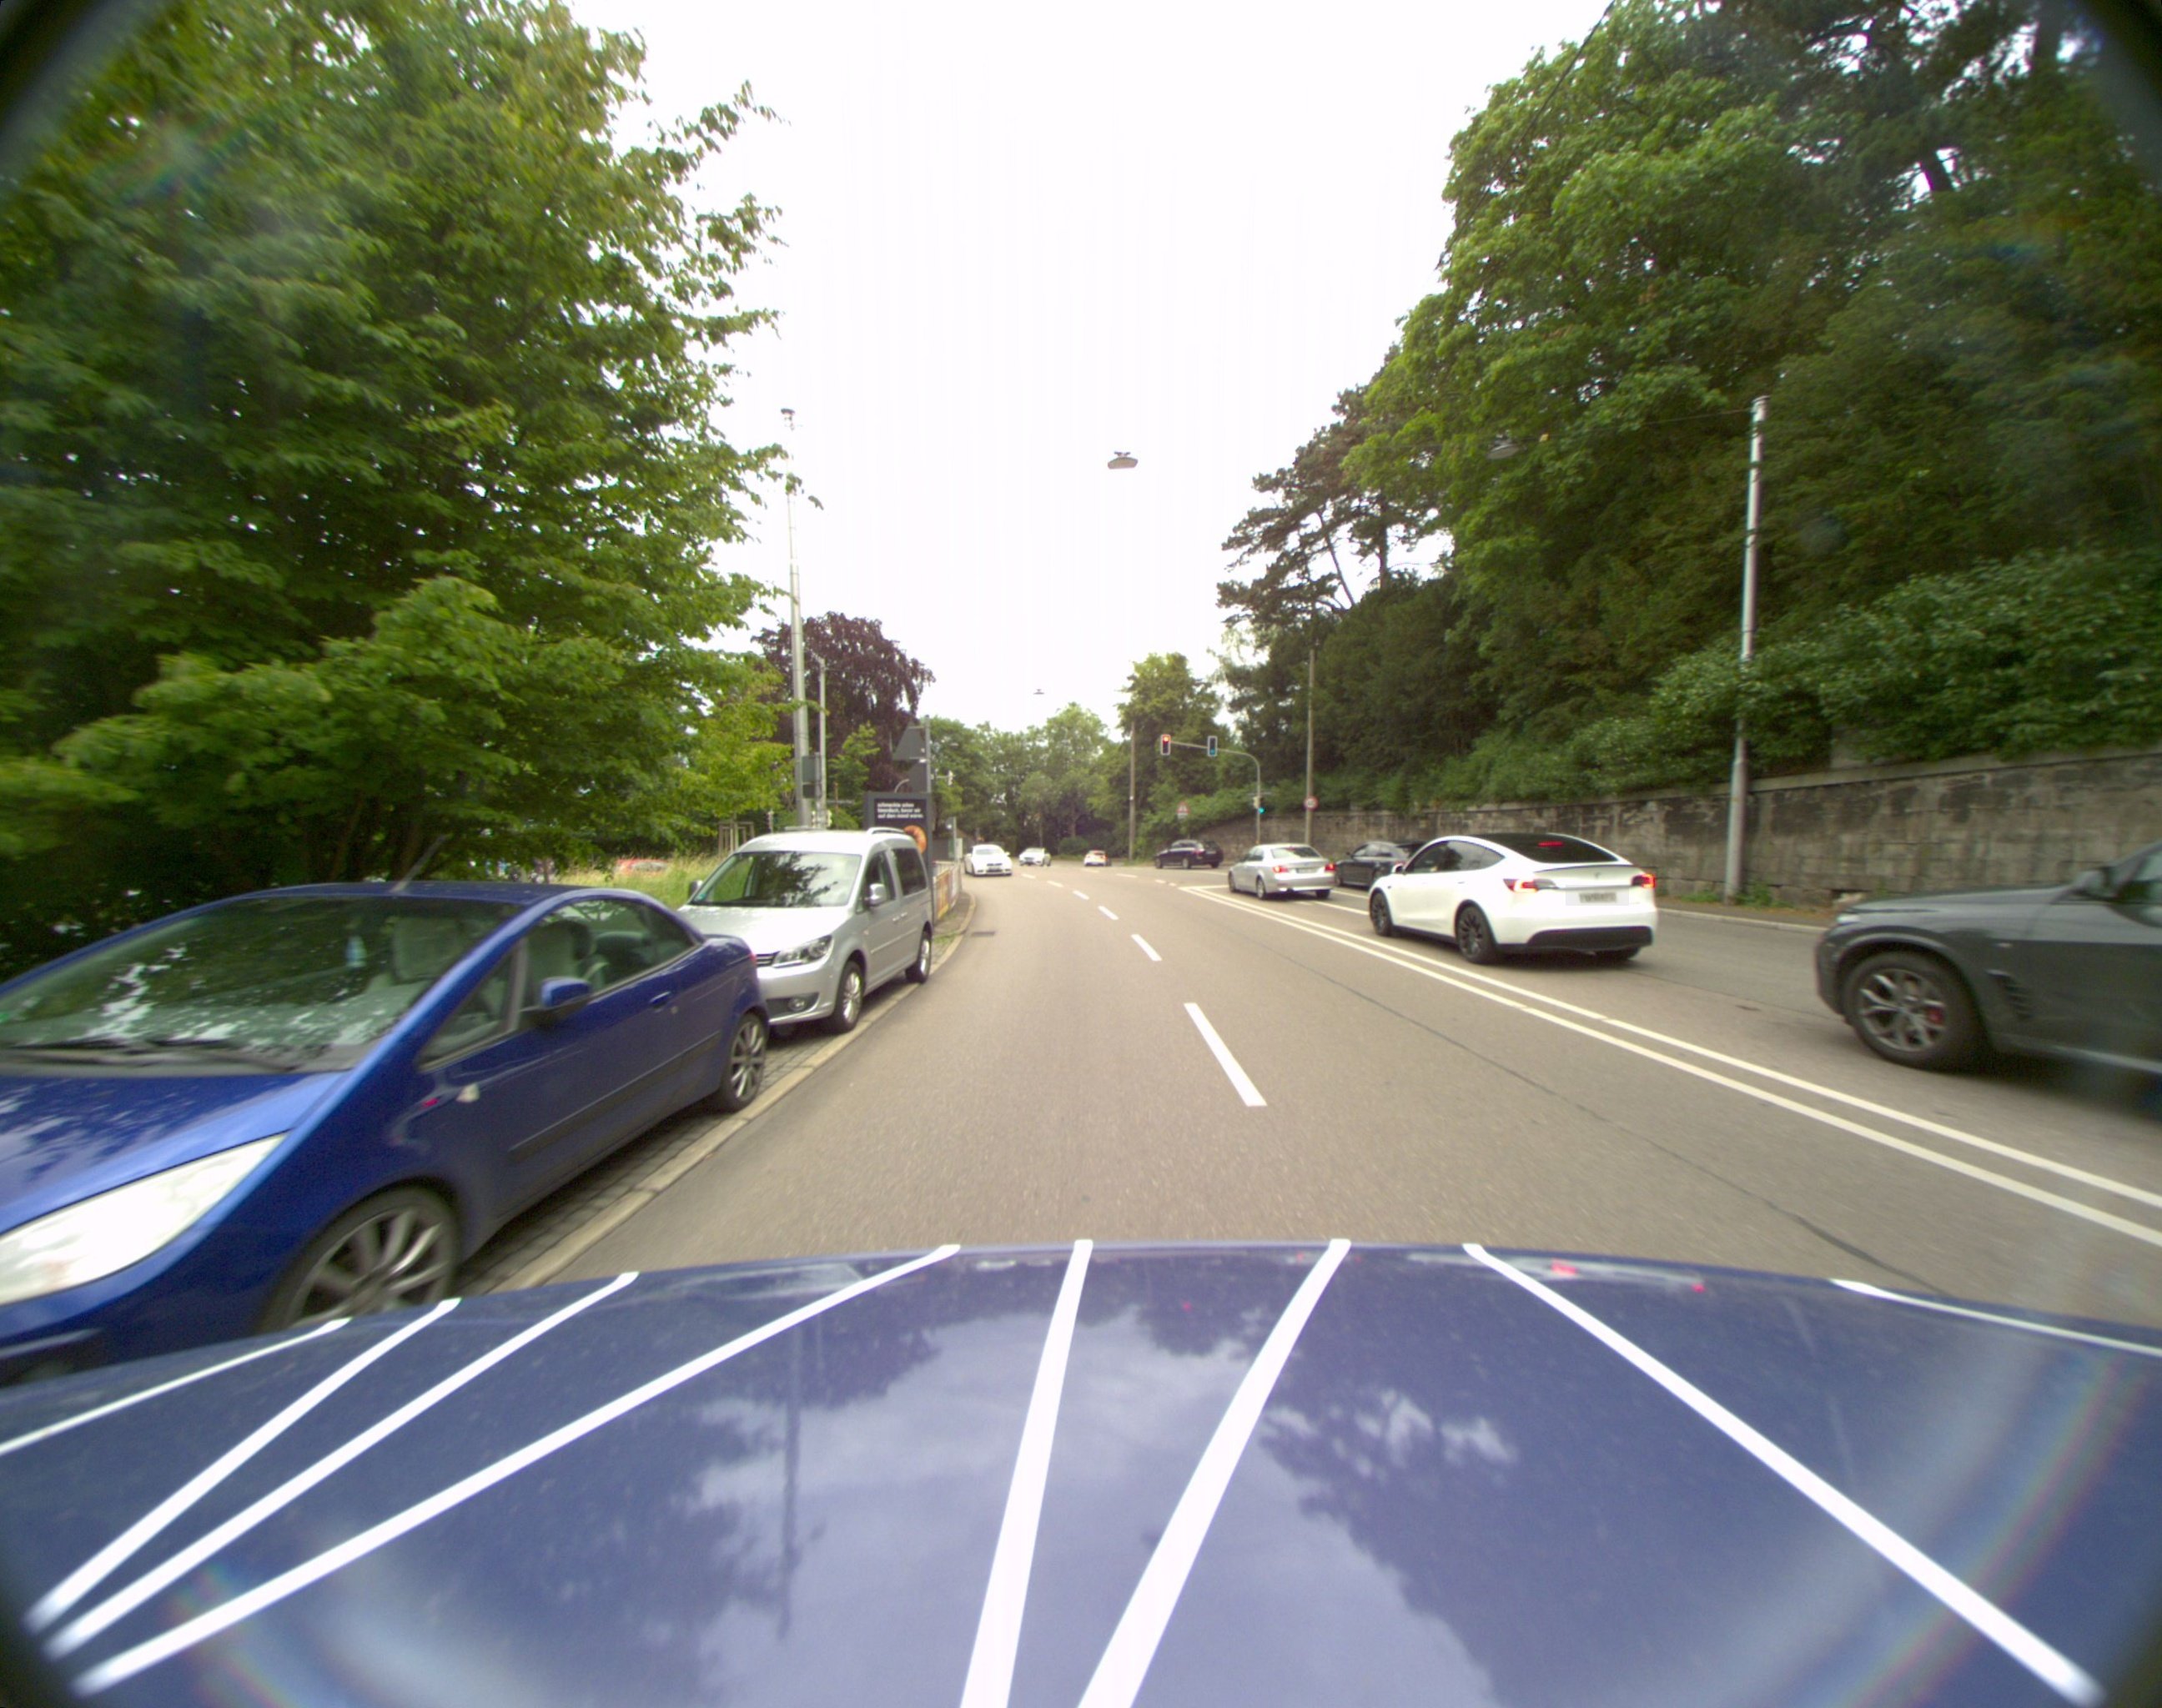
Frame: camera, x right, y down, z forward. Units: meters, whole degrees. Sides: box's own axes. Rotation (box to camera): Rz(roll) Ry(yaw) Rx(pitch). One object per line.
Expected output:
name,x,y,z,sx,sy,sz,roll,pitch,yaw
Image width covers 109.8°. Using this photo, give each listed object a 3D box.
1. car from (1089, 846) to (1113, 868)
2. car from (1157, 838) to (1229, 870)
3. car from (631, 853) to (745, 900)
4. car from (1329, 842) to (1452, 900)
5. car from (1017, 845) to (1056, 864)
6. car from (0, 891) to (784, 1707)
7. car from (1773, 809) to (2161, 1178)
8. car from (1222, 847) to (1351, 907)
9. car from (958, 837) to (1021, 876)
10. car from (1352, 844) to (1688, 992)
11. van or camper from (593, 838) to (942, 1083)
car,1.612,0.219,60.687,1.639,1.548,4.114,-3,1,4
car,5.533,-0.007,37.977,1.740,1.443,4.043,-3,1,-22
car,-15.941,0.862,30.971,1.646,1.497,3.706,4,6,38
car,8.597,0.409,21.480,1.635,1.426,3.956,-2,1,-3
car,-3.382,0.077,58.293,1.968,1.306,3.855,-2,-2,12
car,-2.813,1.002,3.131,1.601,1.451,3.941,0,1,0
car,6.081,0.658,3.143,1.965,1.739,4.877,0,1,0
car,5.563,0.551,21.326,1.999,1.461,4.875,0,1,-4
car,-4.595,0.078,37.536,1.826,1.464,4.771,-4,6,-22
car,5.586,0.661,10.564,1.842,1.545,4.787,-2,1,-1
van or camper,-2.757,0.774,7.859,1.703,1.834,4.242,-1,1,2
